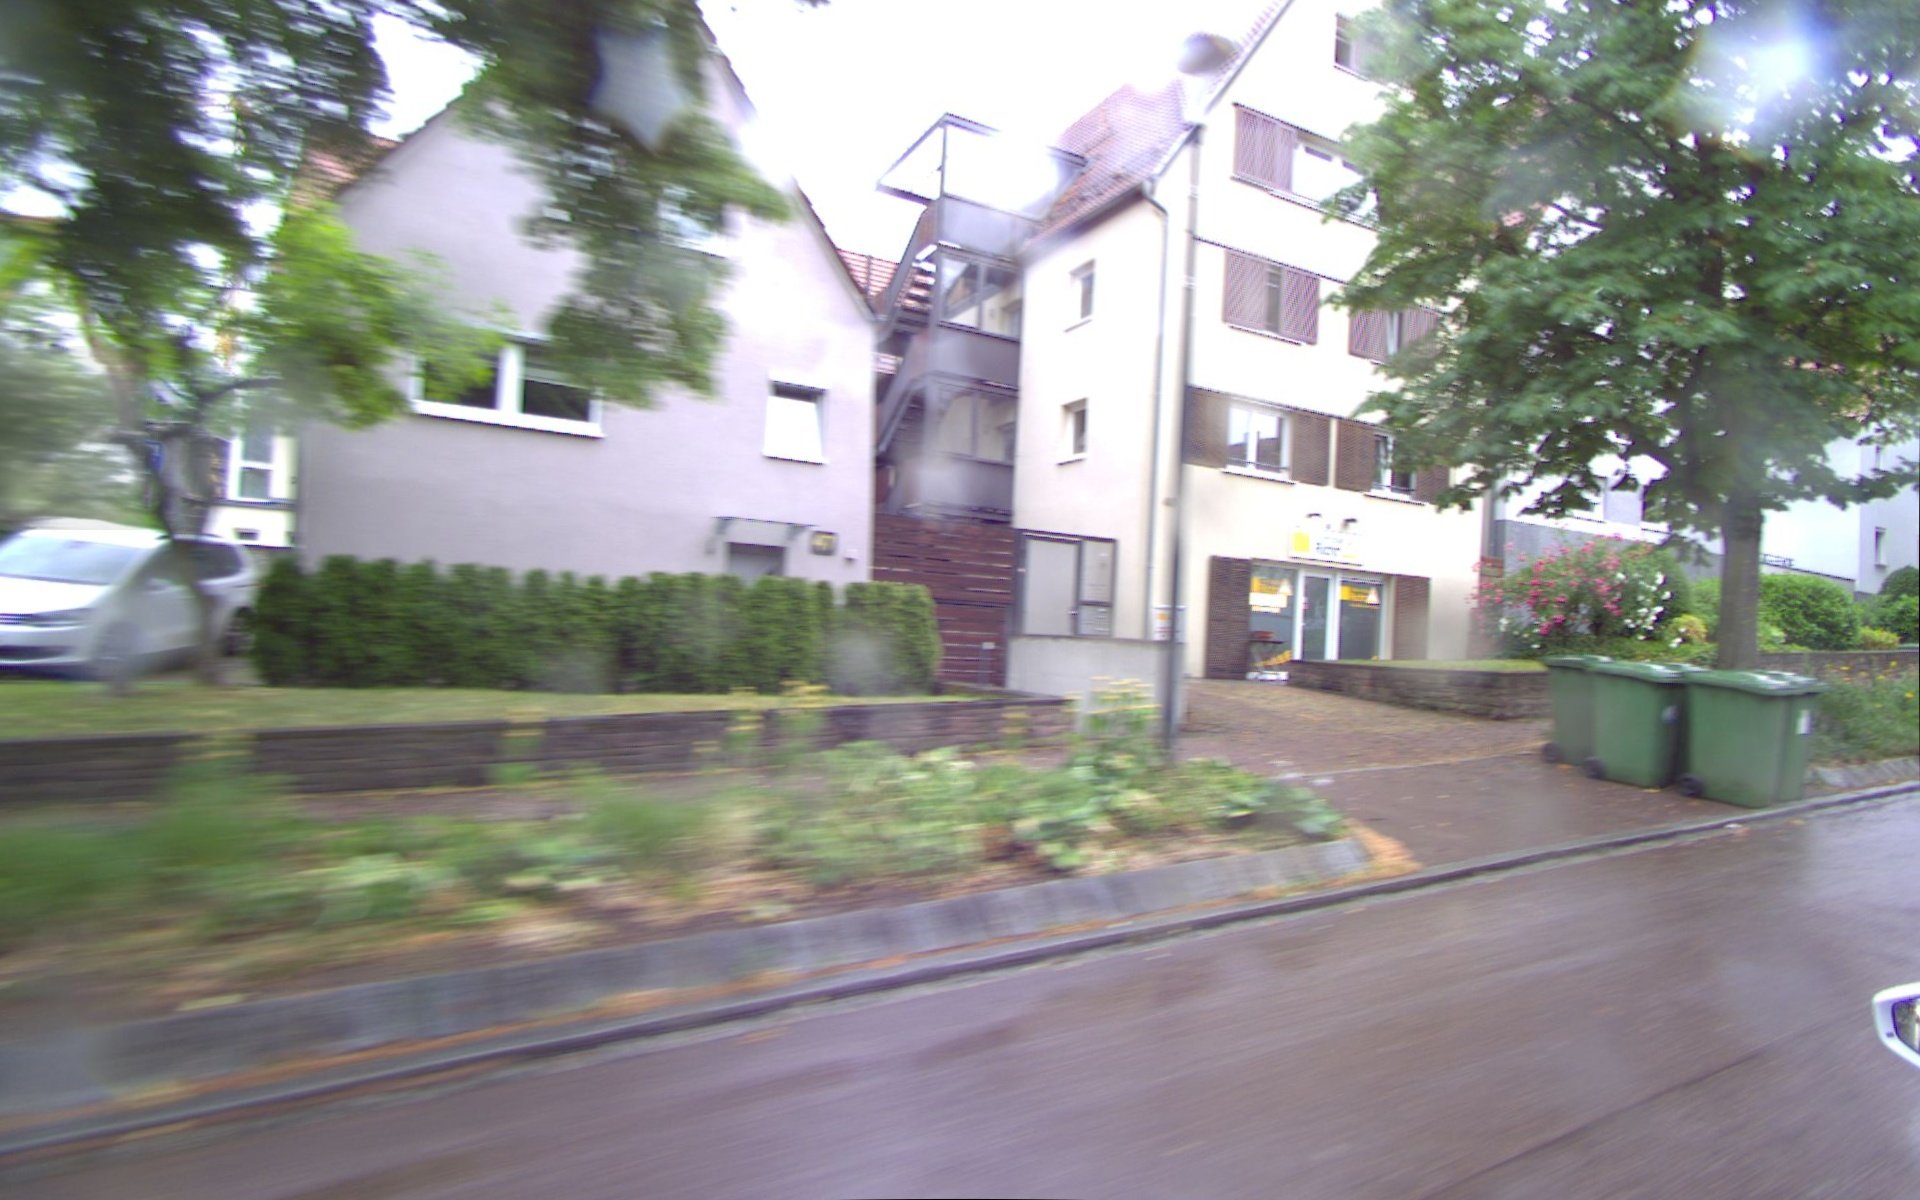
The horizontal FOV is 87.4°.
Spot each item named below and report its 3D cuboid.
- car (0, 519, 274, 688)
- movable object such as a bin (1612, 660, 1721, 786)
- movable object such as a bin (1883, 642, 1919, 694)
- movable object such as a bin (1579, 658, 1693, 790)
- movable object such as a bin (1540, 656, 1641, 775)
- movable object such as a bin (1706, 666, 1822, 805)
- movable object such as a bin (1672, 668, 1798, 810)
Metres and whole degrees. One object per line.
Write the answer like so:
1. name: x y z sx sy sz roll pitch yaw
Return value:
1. car: -10.996 -0.081 12.851 2.032 1.680 4.403 5 2 -12
2. movable object such as a bin: 6.596 1.123 9.386 0.562 1.073 0.613 2 2 -31
3. movable object such as a bin: 22.087 1.577 23.395 0.651 1.148 0.660 2 0 -28
4. movable object such as a bin: 6.087 1.093 9.057 0.575 1.075 0.620 2 2 -31
5. movable object such as a bin: 6.229 1.118 9.939 0.555 1.073 0.613 2 2 -31
6. movable object such as a bin: 6.981 1.149 8.725 0.564 1.091 0.580 2 2 -32
7. movable object such as a bin: 6.479 1.135 8.408 0.558 1.073 0.624 2 2 -31
